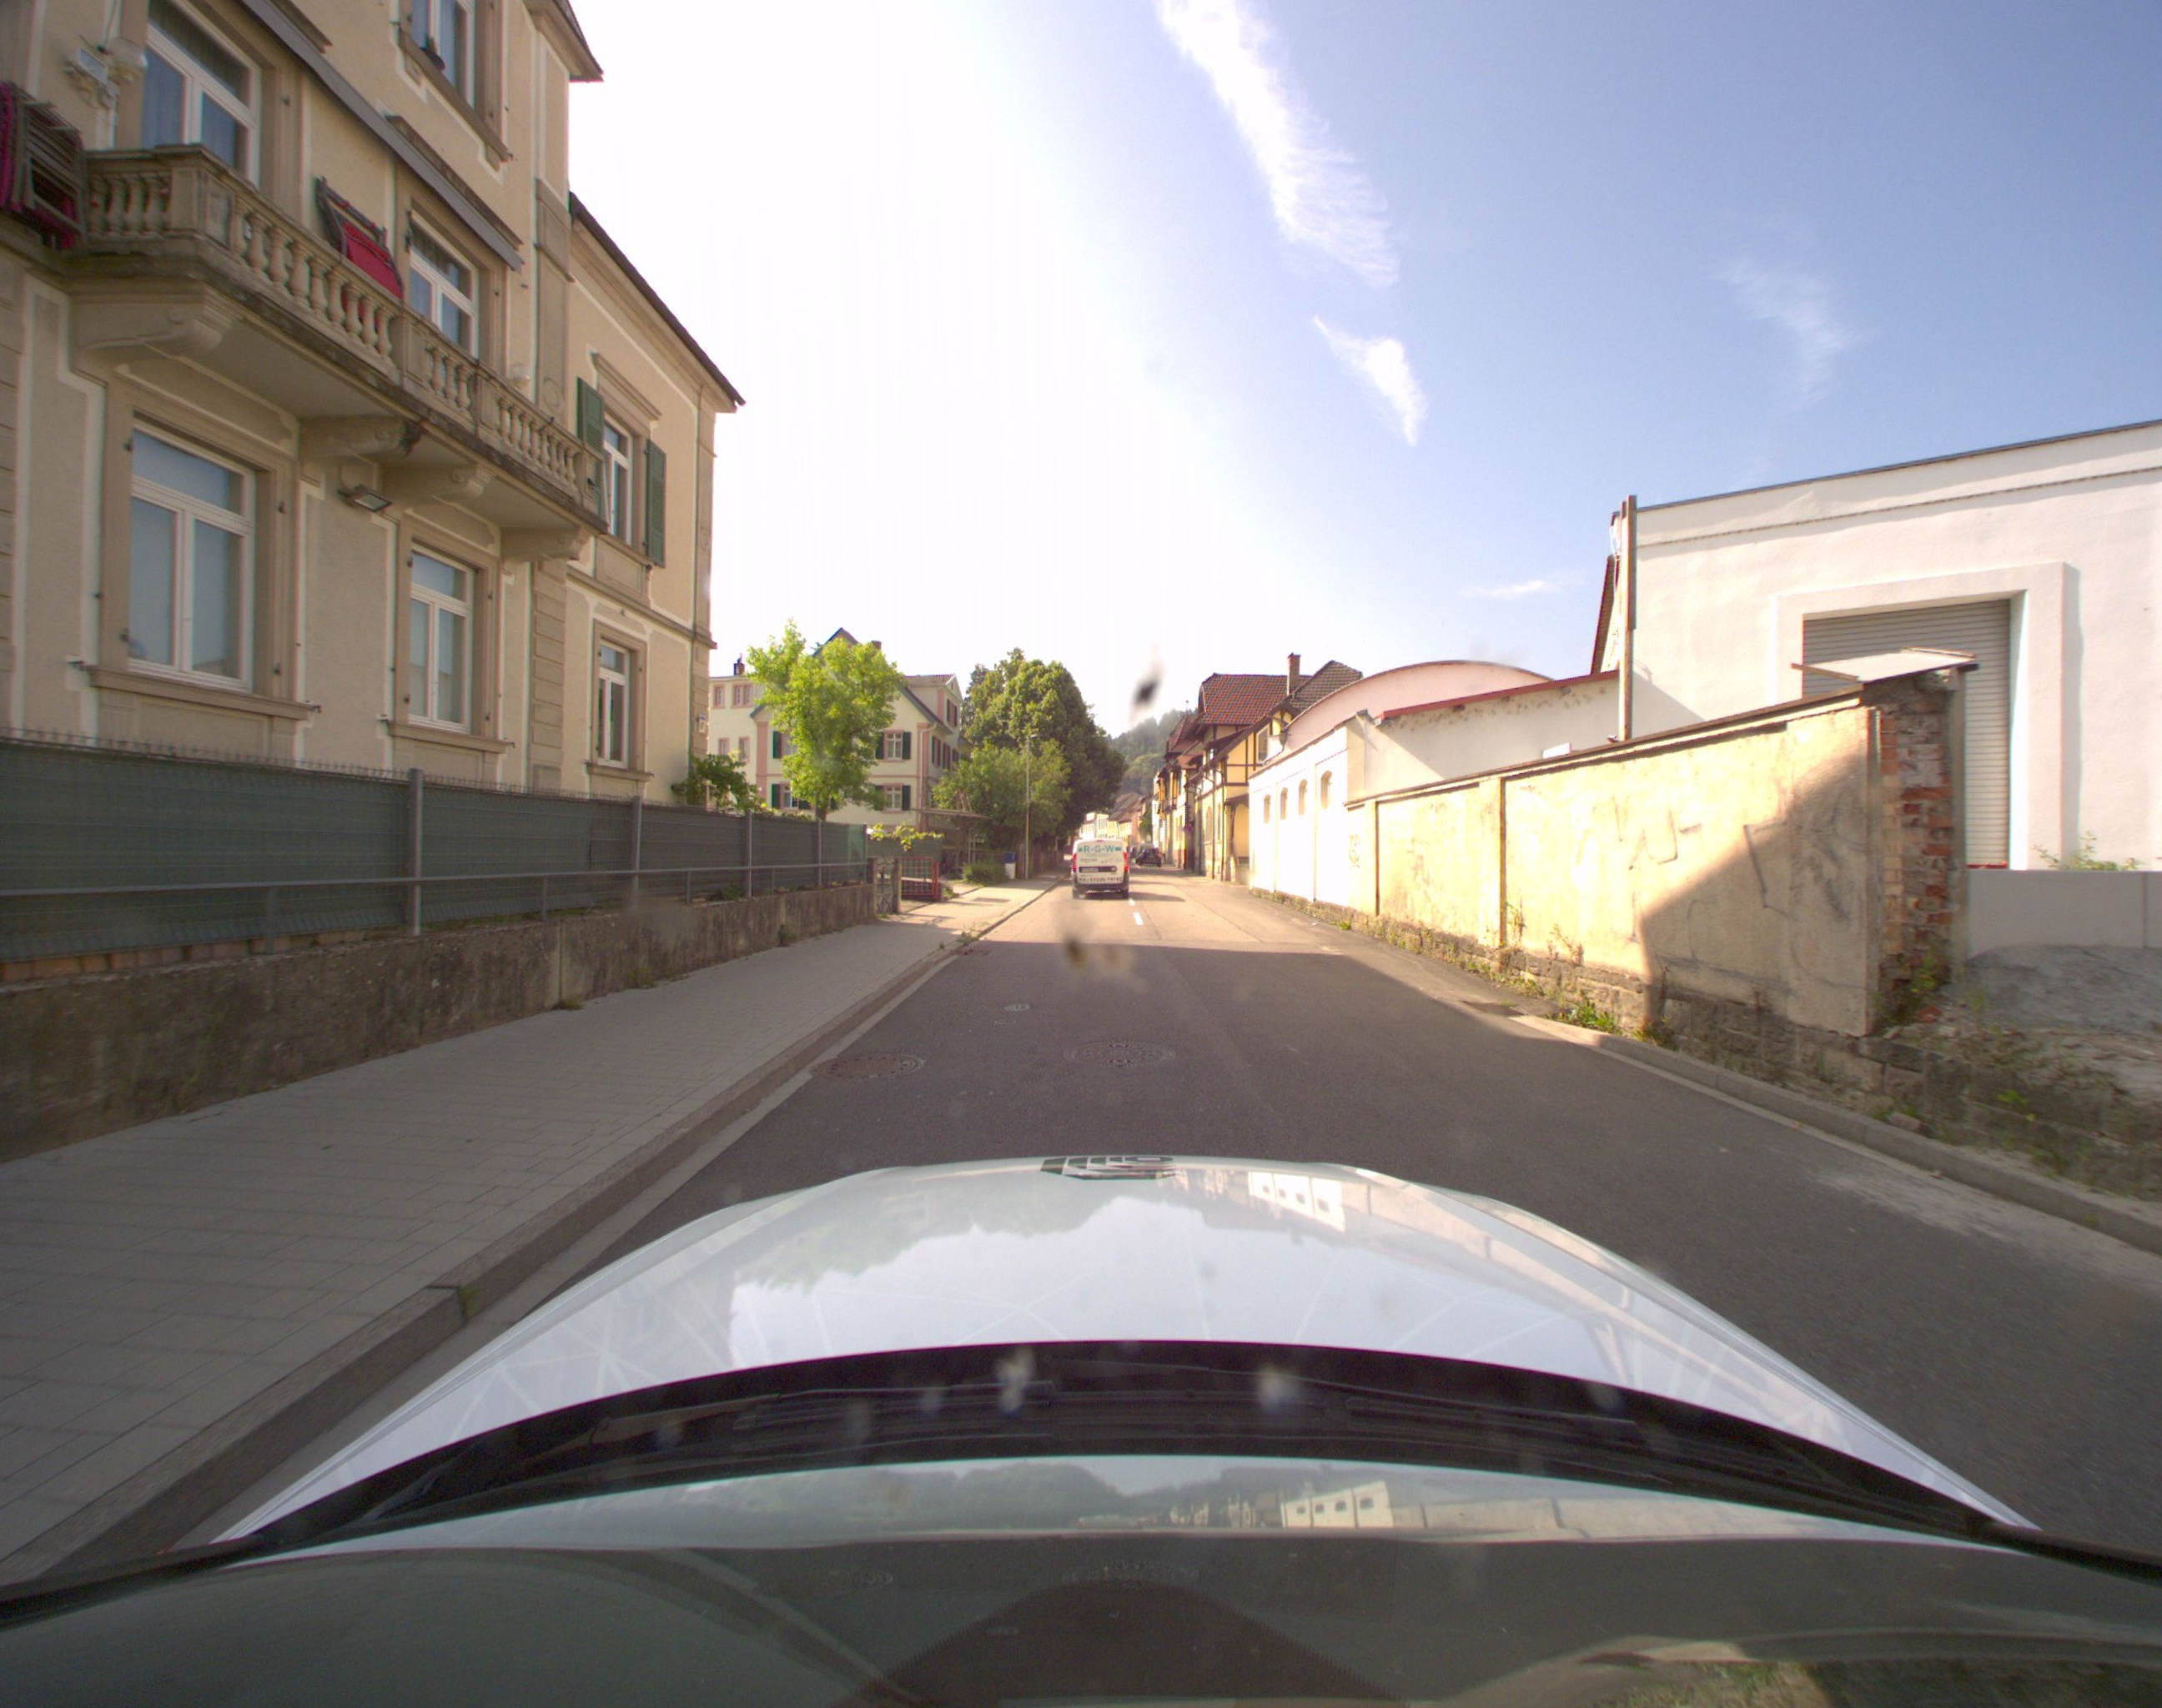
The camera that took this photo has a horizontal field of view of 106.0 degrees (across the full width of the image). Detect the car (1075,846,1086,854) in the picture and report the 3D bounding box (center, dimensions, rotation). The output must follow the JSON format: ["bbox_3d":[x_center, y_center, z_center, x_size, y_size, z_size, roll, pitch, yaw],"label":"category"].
[{"bbox_3d":[-0.084,-0.969,188.596,1.771,1.799,3.987,1,0,-9],"label":"car"}]

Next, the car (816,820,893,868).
[{"bbox_3d":[-9.554,-0.405,34.779,1.817,1.772,4.682,4,0,0],"label":"car"}]

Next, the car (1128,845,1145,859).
[{"bbox_3d":[6.510,-0.243,95.950,1.664,1.508,4.000,0,0,0],"label":"car"}]

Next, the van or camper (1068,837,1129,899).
[{"bbox_3d":[0.565,0.419,26.611,1.822,1.844,4.189,0,0,1],"label":"van or camper"}]

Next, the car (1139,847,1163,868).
[{"bbox_3d":[5.948,0.277,69.335,1.803,1.596,3.929,3,1,2],"label":"car"}]

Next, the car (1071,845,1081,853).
[{"bbox_3d":[-1.314,-1.158,195.139,1.771,1.799,3.987,1,0,-9],"label":"car"}]

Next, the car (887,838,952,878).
[{"bbox_3d":[-6.639,0.119,33.818,1.609,1.461,4.396,3,1,2],"label":"car"}]

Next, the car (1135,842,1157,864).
[{"bbox_3d":[6.285,-0.081,79.527,1.864,2.013,4.001,2,0,1],"label":"car"}]

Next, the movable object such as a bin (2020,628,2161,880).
[{"bbox_3d":[18.571,-1.393,13.363,2.823,3.621,5.772,4,1,37],"label":"movable object such as a bin"}]
